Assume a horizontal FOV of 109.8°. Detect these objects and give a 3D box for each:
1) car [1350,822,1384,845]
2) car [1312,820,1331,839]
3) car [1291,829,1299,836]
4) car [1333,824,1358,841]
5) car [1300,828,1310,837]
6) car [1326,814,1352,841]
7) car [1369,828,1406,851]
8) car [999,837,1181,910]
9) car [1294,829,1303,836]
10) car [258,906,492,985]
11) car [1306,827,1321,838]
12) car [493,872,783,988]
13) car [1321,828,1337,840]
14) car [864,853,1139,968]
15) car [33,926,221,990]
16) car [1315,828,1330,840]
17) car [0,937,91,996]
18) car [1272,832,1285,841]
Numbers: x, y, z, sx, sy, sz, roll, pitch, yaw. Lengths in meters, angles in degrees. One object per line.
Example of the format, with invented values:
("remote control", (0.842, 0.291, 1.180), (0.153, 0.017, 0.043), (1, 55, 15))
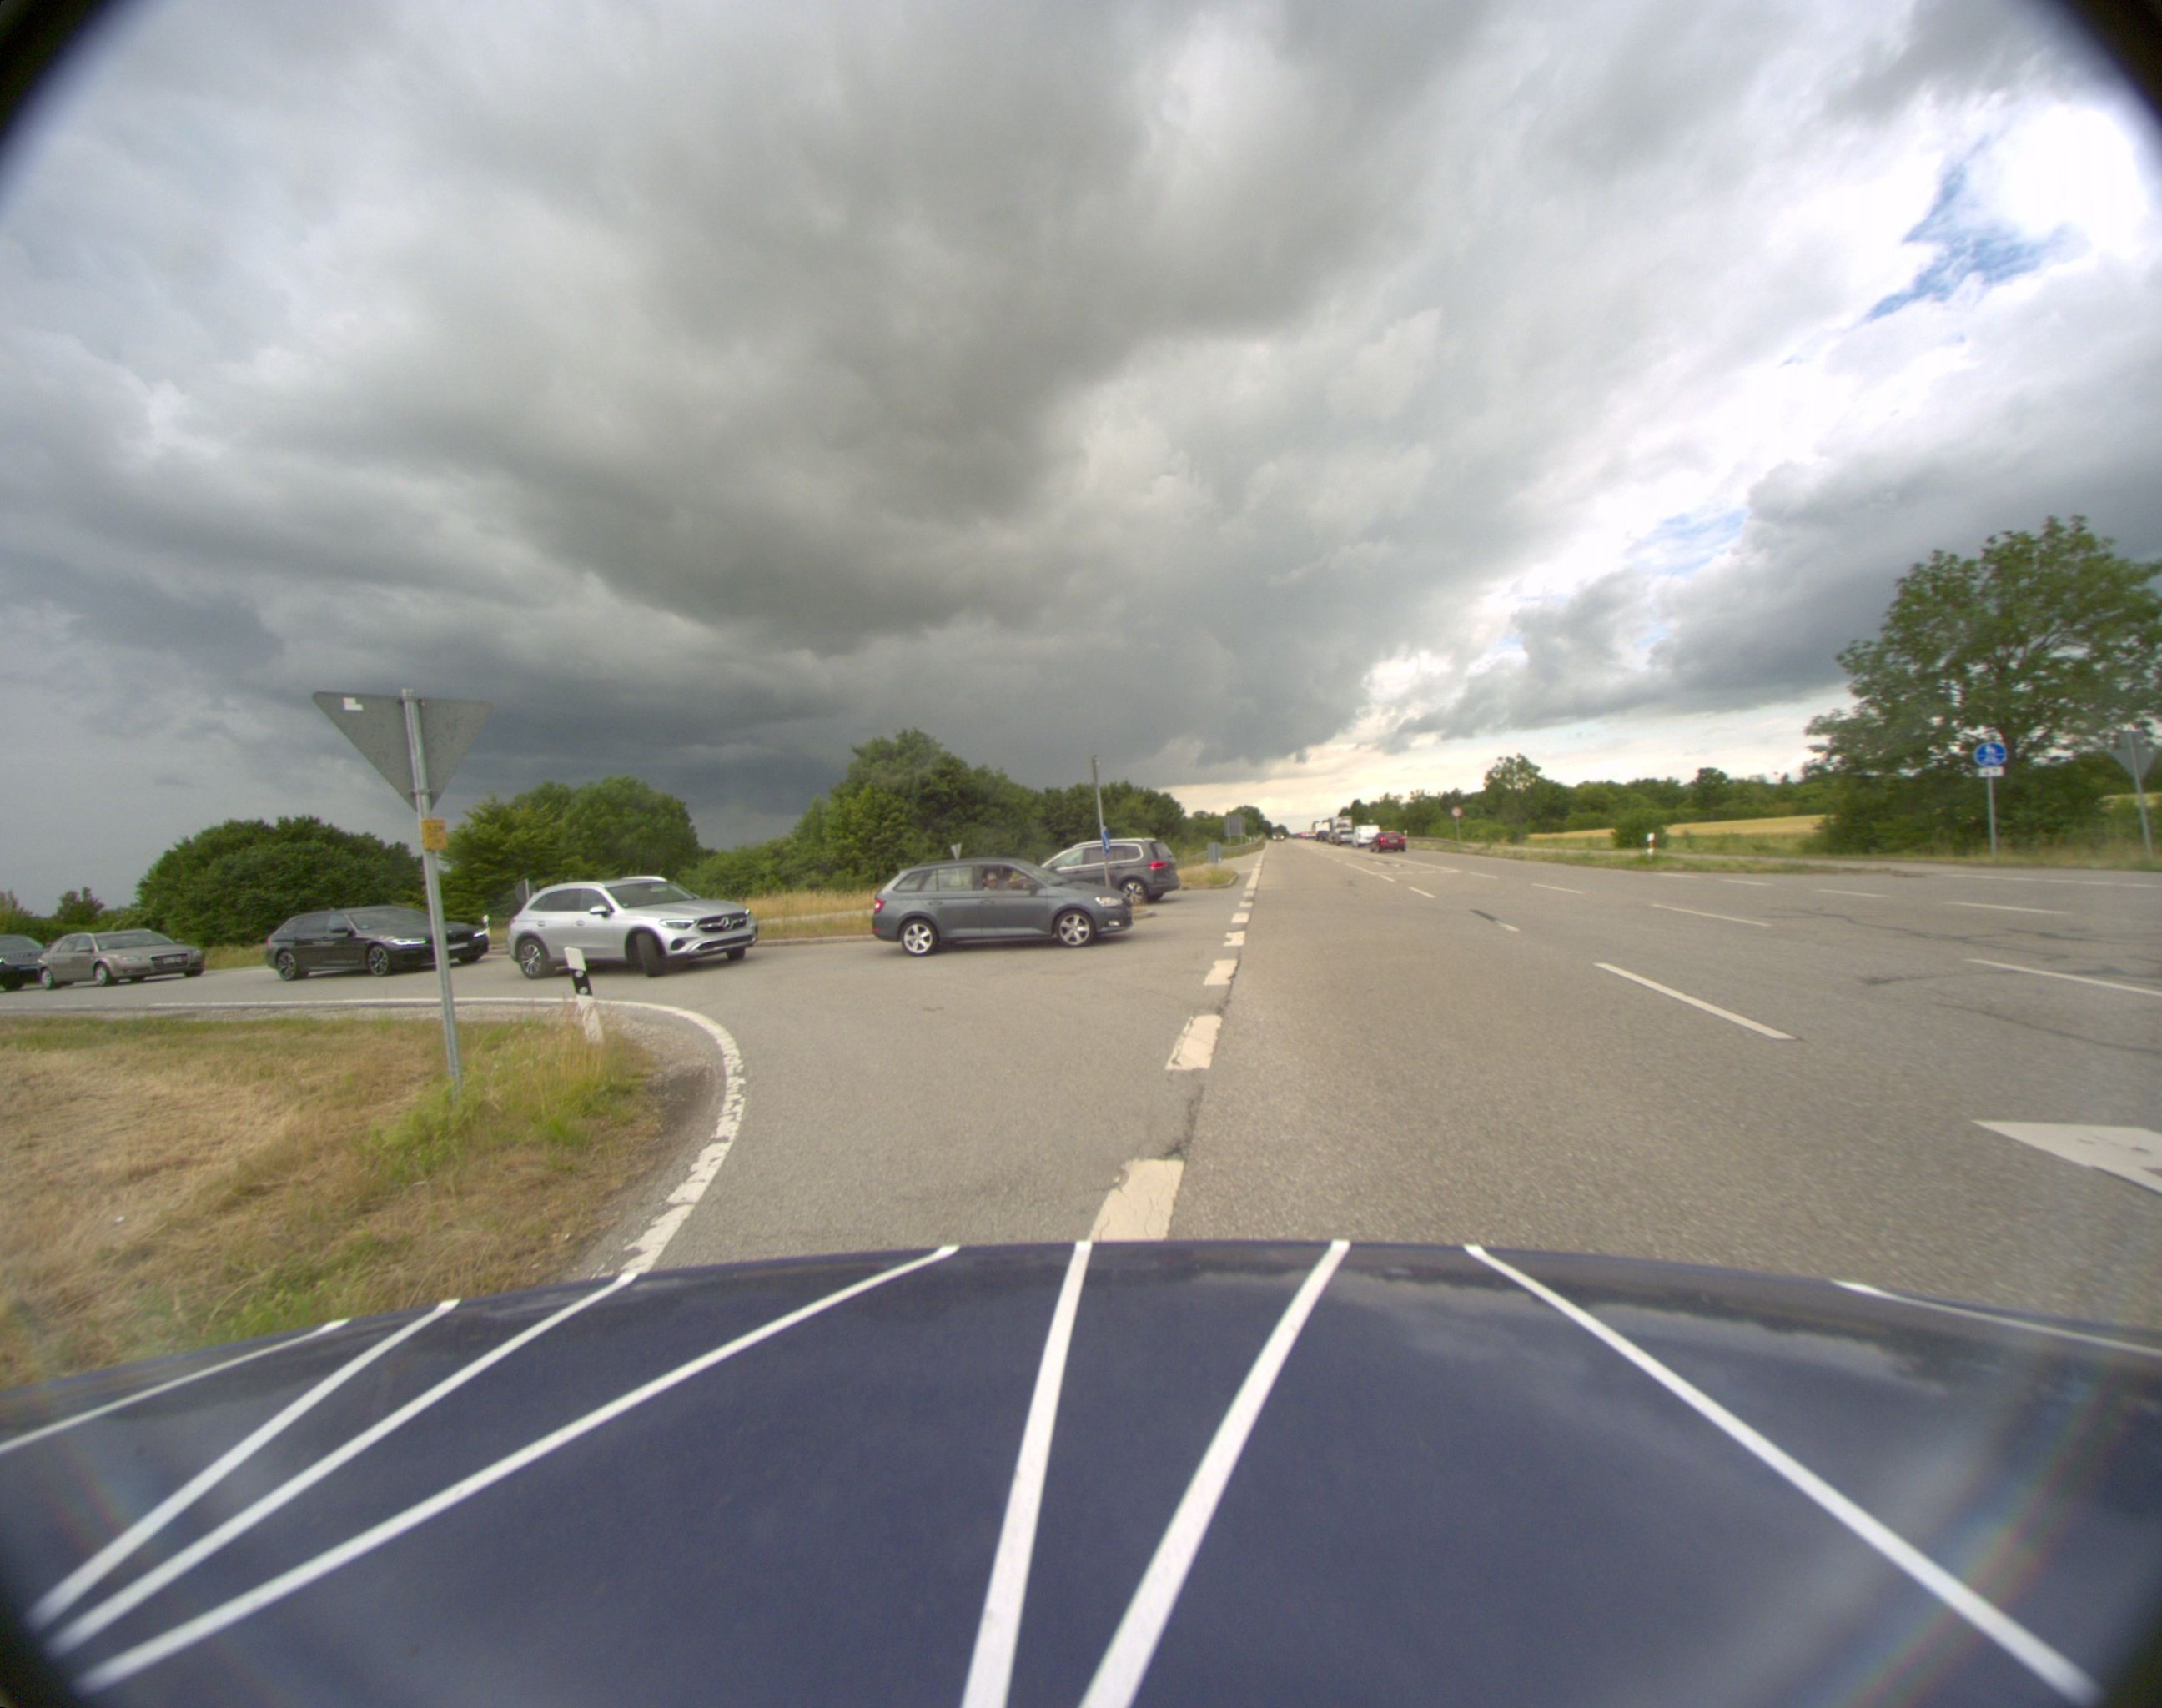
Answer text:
("car", (25.434, -1.792, 67.699), (2.109, 1.875, 5.395), (-3, 1, 14))
("car", (40.908, -4.136, 129.482), (2.337, 3.011, 6.563), (-4, 0, 13))
("car", (58.659, -5.993, 208.648), (1.855, 1.739, 4.004), (-4, 0, 14))
("car", (27.162, -2.220, 78.152), (1.997, 1.614, 4.264), (-2, 1, 12))
("car", (49.627, -4.750, 168.414), (1.794, 2.002, 4.003), (-4, 0, 13))
("car", (30.359, -3.101, 89.667), (2.337, 3.011, 6.564), (-2, 1, 14))
("car", (20.690, -0.979, 51.417), (1.675, 1.393, 4.093), (-3, 1, 14))
("car", (0.239, 0.493, 19.630), (4.281, 1.649, 1.756), (-3, 1, 21))
("car", (53.235, -5.270, 185.742), (1.855, 1.739, 4.004), (-4, 0, 14))
("car", (-15.587, 2.024, 16.780), (4.685, 1.346, 1.724), (-4, 3, 20))
("car", (45.096, -4.200, 147.521), (2.337, 1.911, 4.880), (-4, 0, 14))
("car", (-7.728, 1.317, 13.282), (4.384, 1.578, 1.999), (-4, 3, 23))
("car", (35.532, -2.827, 108.946), (1.845, 1.516, 4.004), (-4, 0, 14))
("car", (-1.201, 0.884, 12.502), (4.112, 1.439, 1.719), (-4, 2, 7))
("car", (-25.695, 2.793, 20.488), (4.206, 1.345, 1.724), (-4, 1, 18))
("car", (37.441, -3.091, 117.751), (1.855, 1.739, 4.003), (-4, 0, 13))
("car", (-31.191, 3.286, 21.950), (4.206, 1.346, 1.723), (-4, 3, 18))
("car", (34.591, -3.115, 133.055), (1.997, 1.474, 4.003), (-4, 1, 14))
